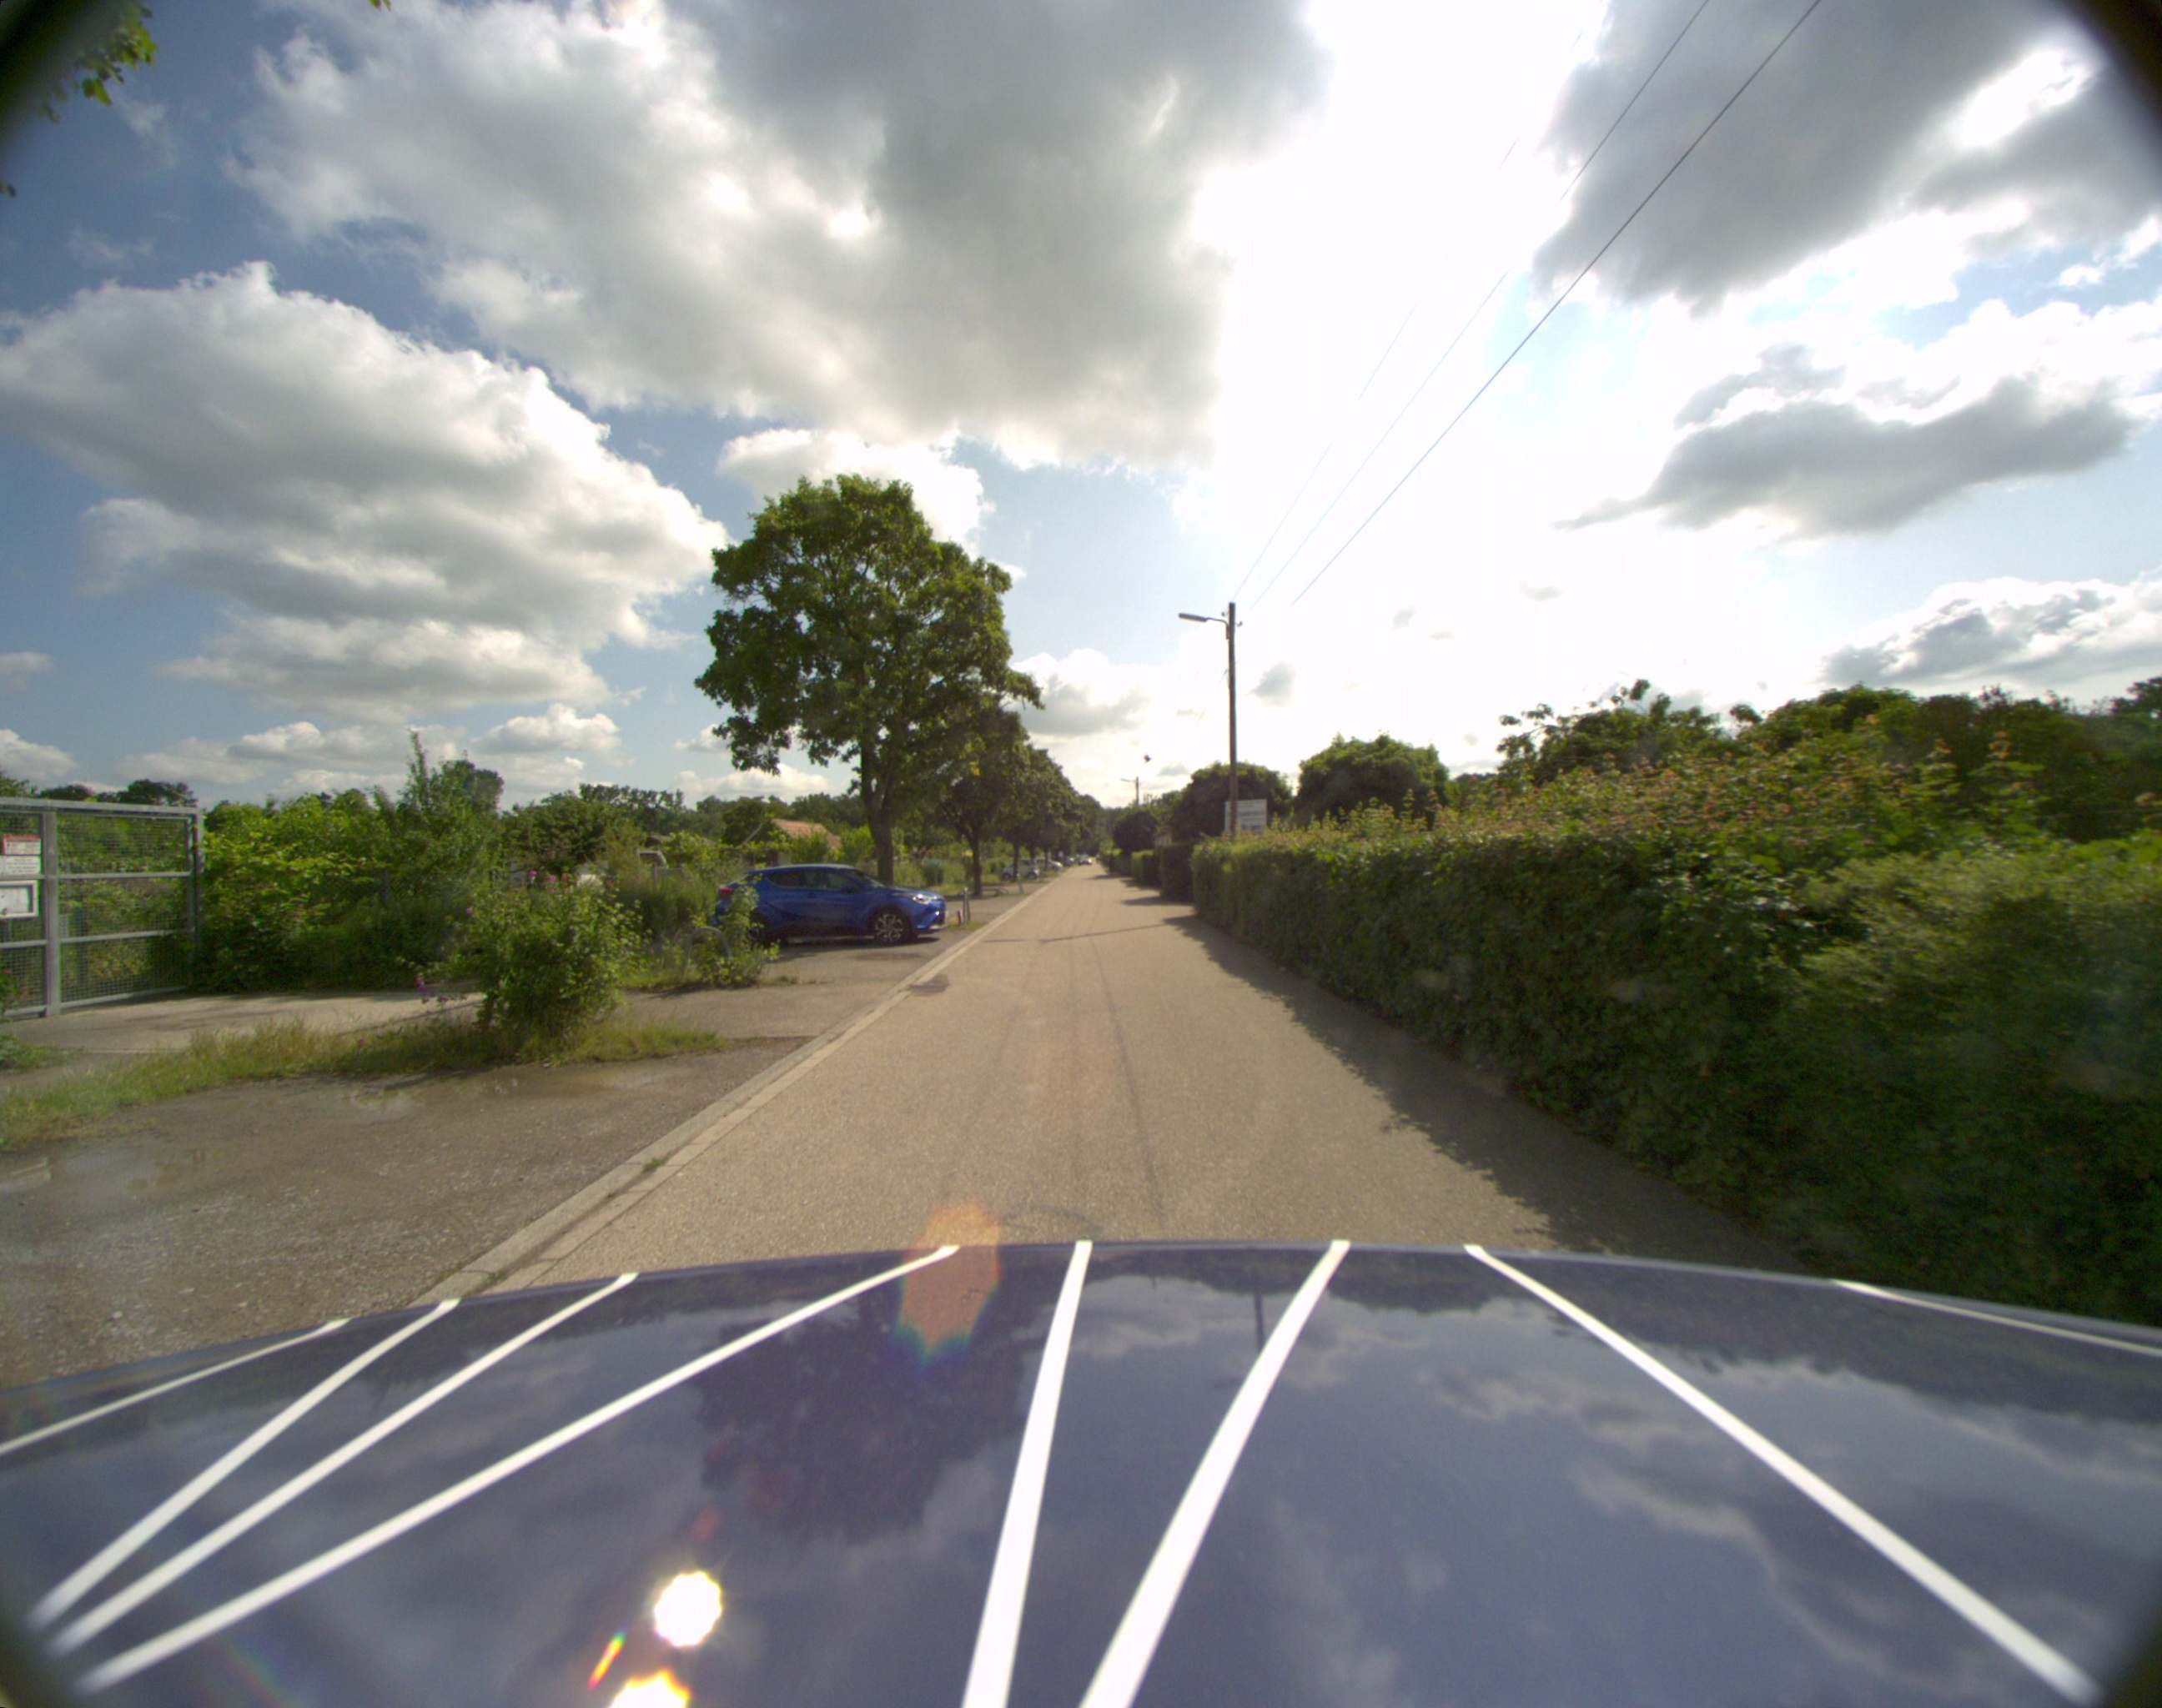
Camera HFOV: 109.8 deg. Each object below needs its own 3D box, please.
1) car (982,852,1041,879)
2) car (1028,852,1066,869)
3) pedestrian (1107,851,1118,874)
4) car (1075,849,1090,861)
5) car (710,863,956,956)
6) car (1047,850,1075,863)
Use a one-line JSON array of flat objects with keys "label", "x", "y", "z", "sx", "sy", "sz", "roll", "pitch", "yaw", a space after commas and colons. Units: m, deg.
[{"label": "car", "x": -4.941, "y": 0.790, "z": 54.568, "sx": 3.929, "sy": 1.740, "sz": 2.000, "roll": -2, "pitch": 1, "yaw": 0}, {"label": "car", "x": -3.713, "y": 0.700, "z": 83.169, "sx": 3.929, "sy": 1.740, "sz": 2.000, "roll": -2, "pitch": 1, "yaw": 0}, {"label": "pedestrian", "x": 2.421, "y": 0.659, "z": 58.149, "sx": 0.701, "sy": 1.701, "sz": 0.788, "roll": -2, "pitch": 1, "yaw": 0}, {"label": "car", "x": 0.305, "y": 0.124, "z": 113.008, "sx": 1.998, "sy": 1.740, "sz": 3.932, "roll": -2, "pitch": 1, "yaw": 2}, {"label": "car", "x": -4.608, "y": 1.015, "z": 14.594, "sx": 4.116, "sy": 1.573, "sz": 1.781, "roll": -1, "pitch": 0, "yaw": -1}, {"label": "car", "x": -2.996, "y": 0.346, "z": 111.709, "sx": 3.998, "sy": 1.824, "sz": 1.999, "roll": -3, "pitch": 1, "yaw": -3}]
